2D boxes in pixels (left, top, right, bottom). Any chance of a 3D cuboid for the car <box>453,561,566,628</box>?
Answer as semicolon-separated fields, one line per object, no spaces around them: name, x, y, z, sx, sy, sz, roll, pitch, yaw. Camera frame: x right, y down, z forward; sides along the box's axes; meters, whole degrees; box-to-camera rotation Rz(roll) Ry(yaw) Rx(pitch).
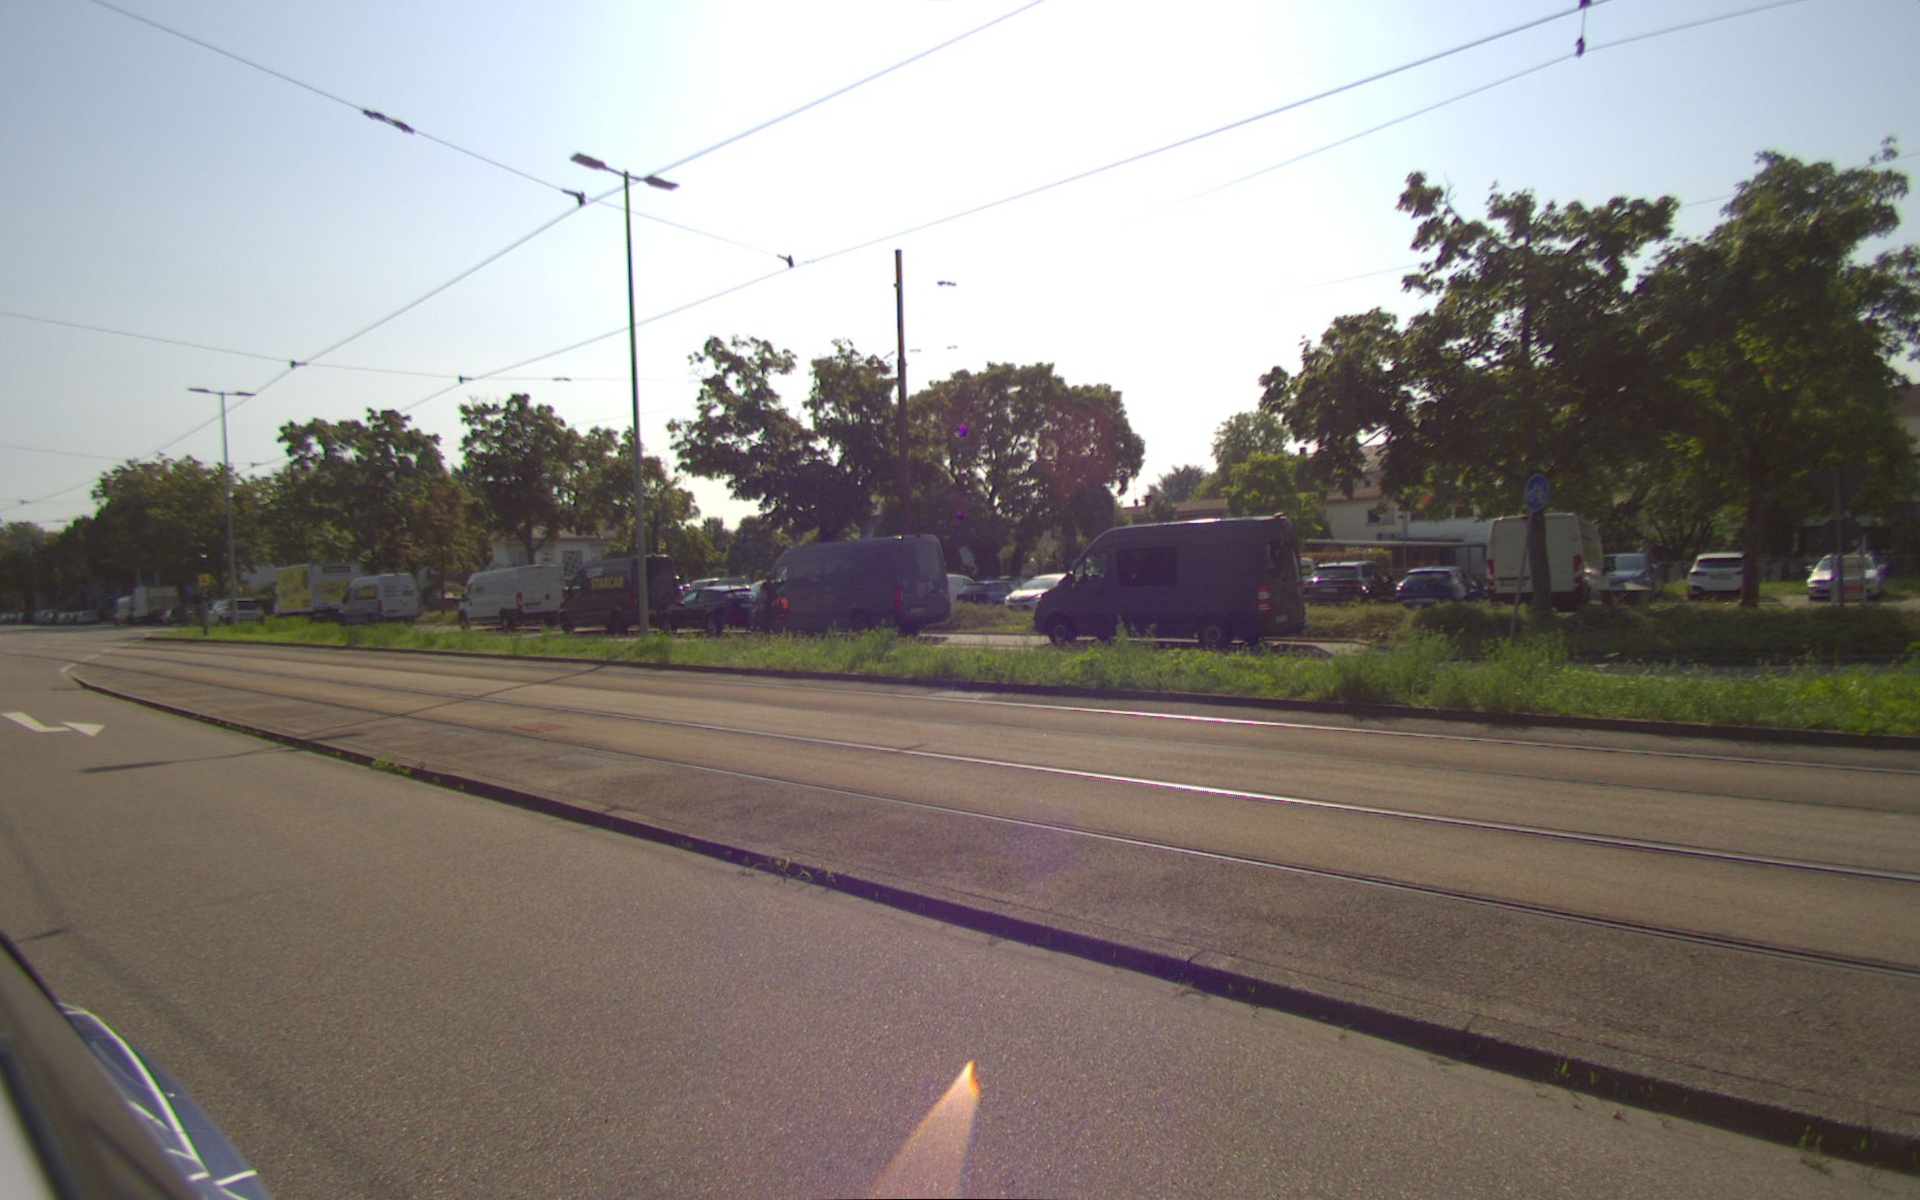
car;-18.564;-0.195;41.561;5.629;2.606;2.110;-1;0;42

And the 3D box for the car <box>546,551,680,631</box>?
car;-12.447;-0.281;36.048;5.909;2.605;1.803;-1;2;43

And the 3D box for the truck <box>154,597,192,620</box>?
truck;-62.201;0.682;79.950;3.968;1.786;1.669;-1;0;42

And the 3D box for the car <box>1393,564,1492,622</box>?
car;13.023;-0.180;27.229;1.632;1.437;3.370;-1;0;40

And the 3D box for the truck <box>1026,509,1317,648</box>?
truck;4.307;-0.376;21.377;5.735;2.567;2.059;-1;0;41

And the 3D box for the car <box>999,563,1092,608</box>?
car;3.125;-0.487;36.143;1.619;1.474;4.125;-1;-1;31

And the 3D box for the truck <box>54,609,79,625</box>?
truck;-98.877;1.849;111.940;3.654;1.687;1.669;-1;0;42

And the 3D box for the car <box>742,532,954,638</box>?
car;-3.242;-0.388;27.894;6.466;2.605;1.967;-1;2;43

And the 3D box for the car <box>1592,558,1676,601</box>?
car;23.242;-0.726;34.865;3.661;1.353;1.493;-3;1;-42

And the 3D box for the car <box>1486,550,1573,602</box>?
car;20.933;-0.840;37.165;3.758;1.782;1.760;-1;0;-44

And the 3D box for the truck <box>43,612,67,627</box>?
truck;-104.617;2.281;117.007;3.654;1.687;1.669;-1;0;42

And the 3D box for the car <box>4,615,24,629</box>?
car;-124.938;2.841;133.680;3.643;1.781;1.531;-1;0;40

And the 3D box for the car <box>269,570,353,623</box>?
car;-36.605;-0.150;56.974;7.229;2.826;2.102;-1;0;42

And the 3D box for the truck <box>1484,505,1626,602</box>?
truck;15.220;-1.072;25.721;2.258;2.189;5.434;-1;0;40

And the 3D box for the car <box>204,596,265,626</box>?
car;-37.950;0.560;52.900;3.950;1.531;1.904;-1;0;44

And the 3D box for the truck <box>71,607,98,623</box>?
truck;-91.676;1.561;105.927;3.654;1.687;1.669;-1;0;42

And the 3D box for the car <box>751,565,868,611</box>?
car;-6.655;-0.517;45.172;2.051;1.940;5.133;-1;0;40

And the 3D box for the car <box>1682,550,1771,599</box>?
car;25.078;-0.815;33.082;1.878;1.513;3.407;-1;0;45

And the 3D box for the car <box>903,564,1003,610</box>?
car;-0.231;-0.477;39.759;1.745;1.707;3.945;-1;0;41

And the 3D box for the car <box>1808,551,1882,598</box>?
car;27.349;-0.802;31.238;1.492;1.353;3.491;-1;1;45

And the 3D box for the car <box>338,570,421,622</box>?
car;-29.314;-0.181;51.027;4.828;2.477;2.121;-1;0;40

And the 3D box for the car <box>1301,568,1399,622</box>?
car;11.213;-0.141;28.975;1.632;1.437;3.370;-1;0;40

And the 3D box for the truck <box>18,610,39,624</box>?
truck;-119.792;2.174;130.092;3.654;1.687;1.669;-1;0;42

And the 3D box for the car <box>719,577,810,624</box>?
car;-9.053;0.026;47.080;1.801;2.115;3.948;-1;0;39

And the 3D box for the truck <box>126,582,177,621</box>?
truck;-68.822;0.174;86.101;8.789;3.145;2.248;-1;0;44

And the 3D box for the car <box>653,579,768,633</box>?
car;-7.968;0.186;32.215;3.834;1.563;1.725;-1;2;44
